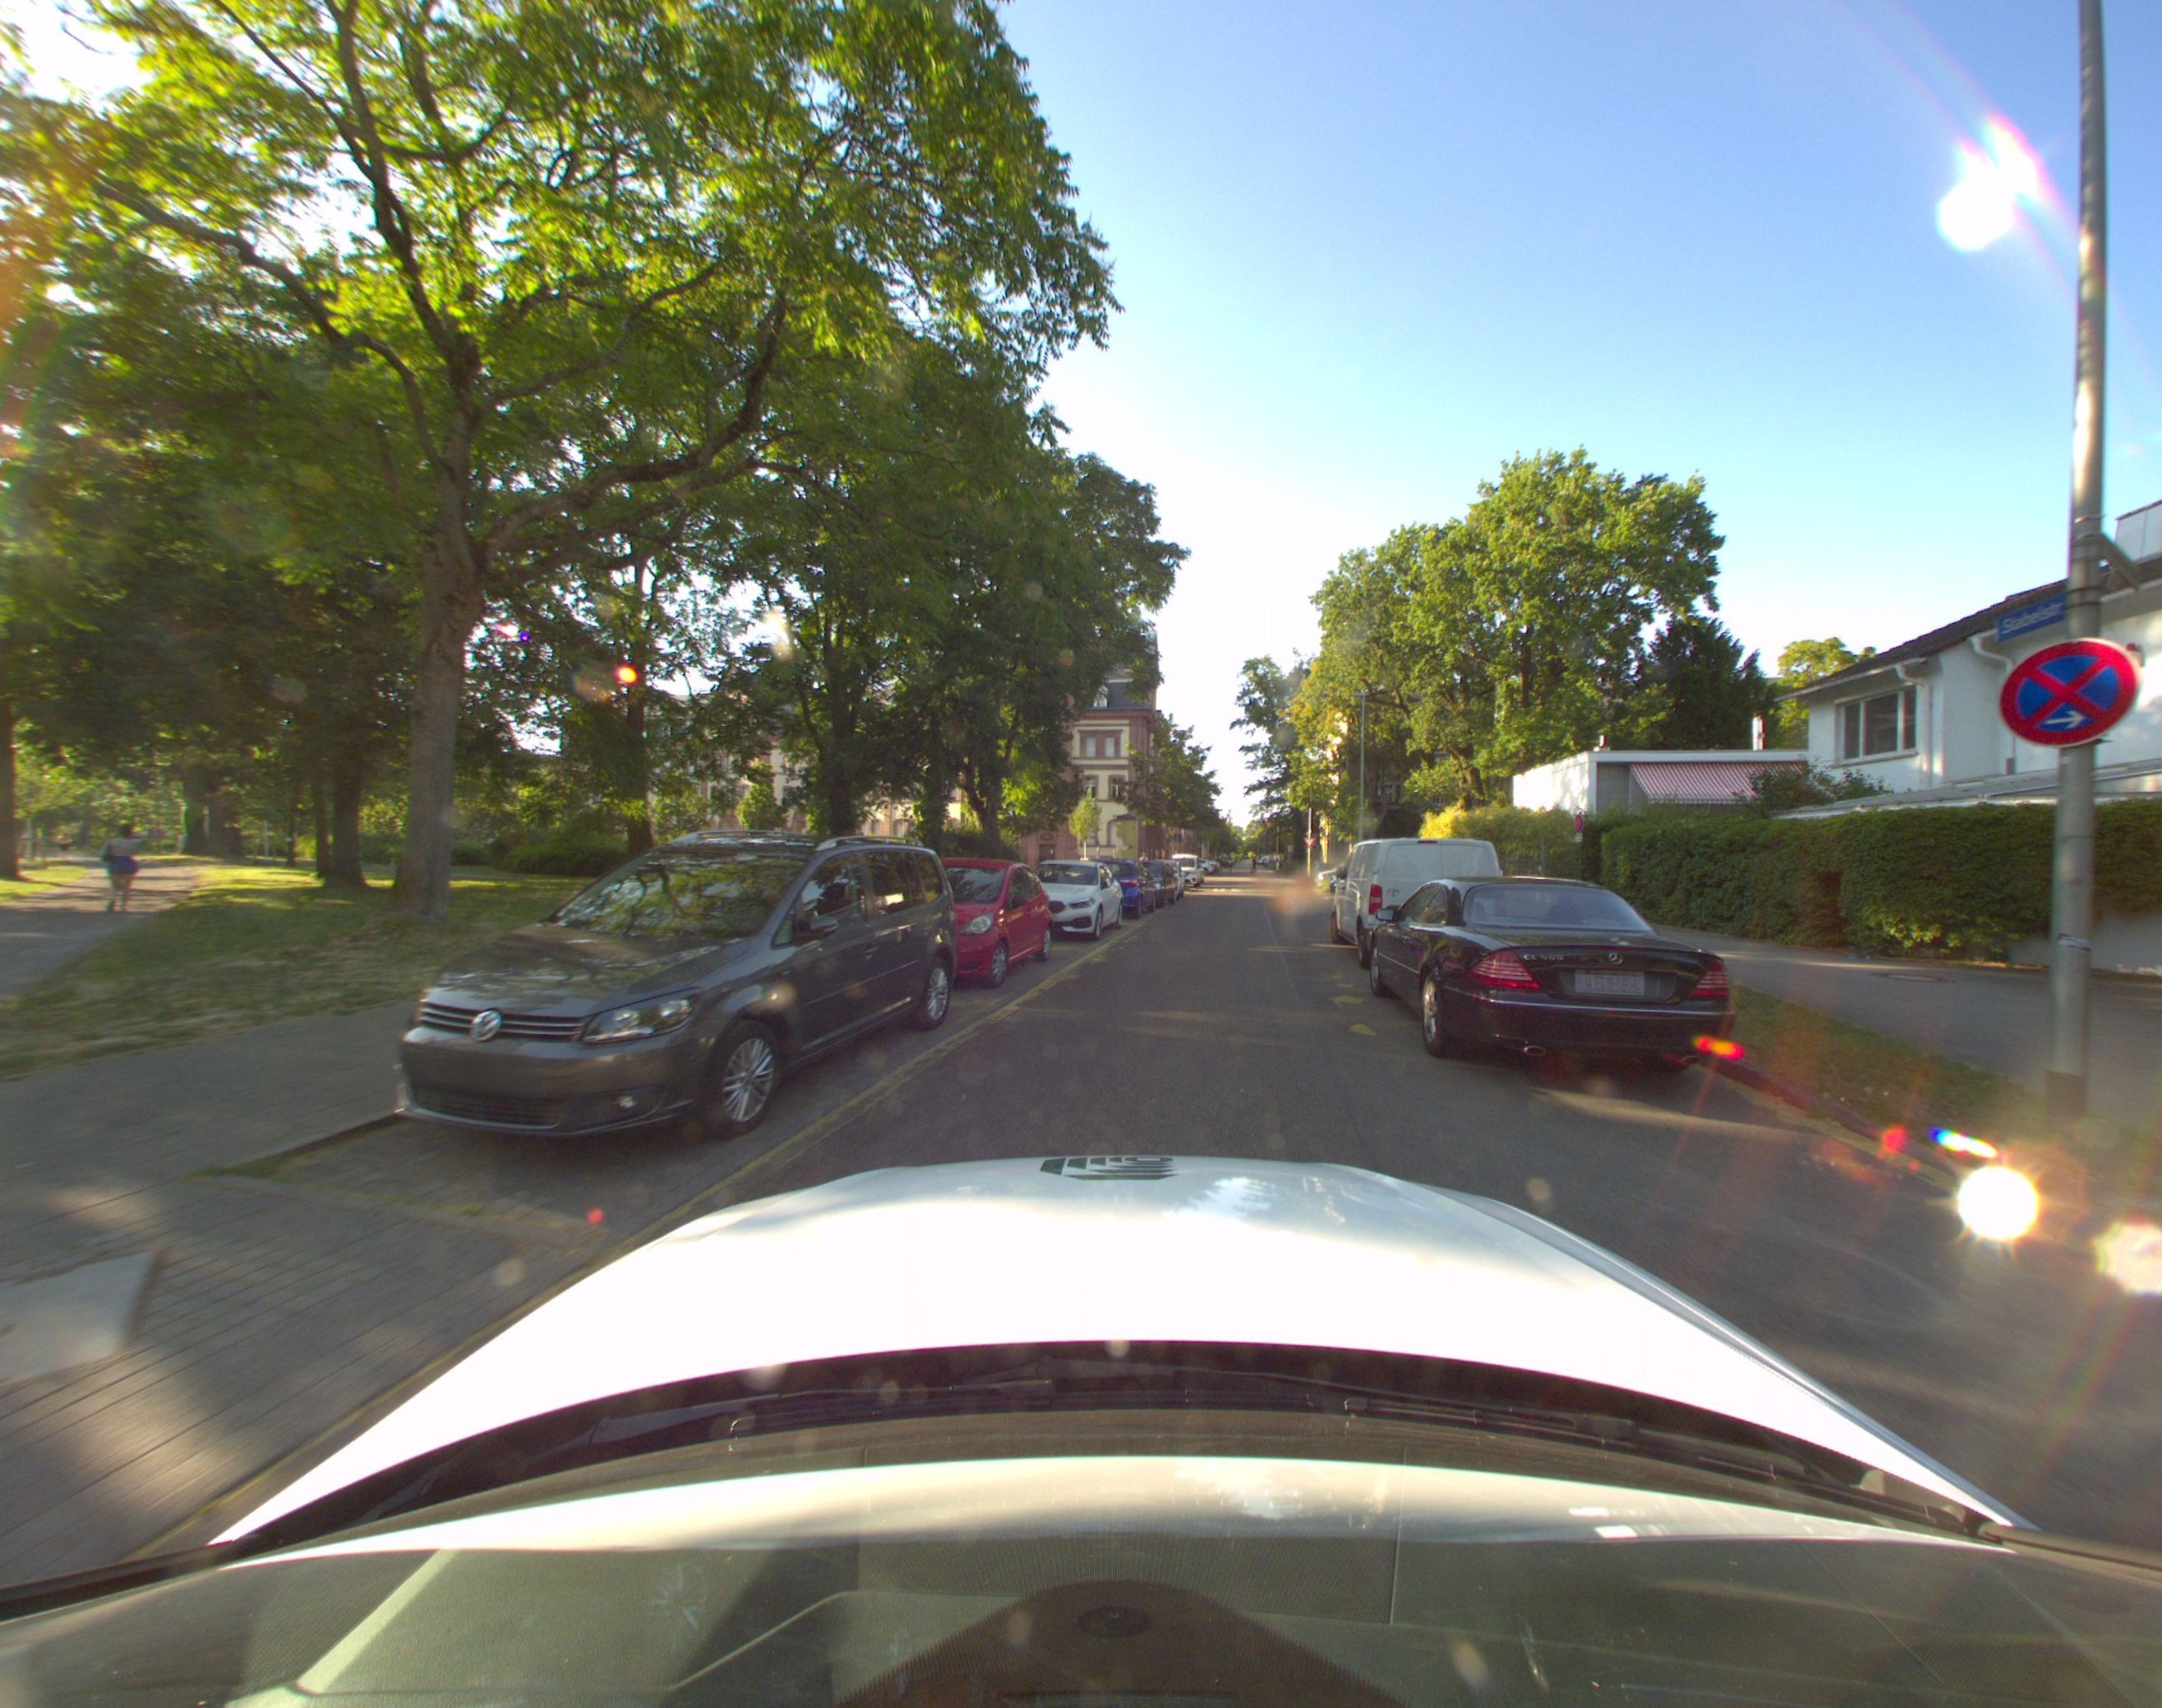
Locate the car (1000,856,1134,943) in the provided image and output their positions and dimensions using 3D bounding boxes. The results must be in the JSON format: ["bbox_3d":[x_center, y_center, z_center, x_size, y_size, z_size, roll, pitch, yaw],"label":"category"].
[{"bbox_3d":[-0.130,0.795,16.116,1.679,1.406,3.988,3,0,12],"label":"car"}]

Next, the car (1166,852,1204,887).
[{"bbox_3d":[5.876,0.813,45.749,1.769,1.841,4.566,1,0,11],"label":"car"}]

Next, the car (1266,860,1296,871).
[{"bbox_3d":[31.541,1.779,128.360,4.456,1.608,1.847,1,0,9],"label":"car"}]

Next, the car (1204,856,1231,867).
[{"bbox_3d":[23.163,1.264,138.437,4.456,1.608,1.847,1,0,9],"label":"car"}]

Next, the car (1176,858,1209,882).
[{"bbox_3d":[7.321,1.008,53.104,1.769,1.505,4.567,1,0,12],"label":"car"}]

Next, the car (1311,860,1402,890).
[{"bbox_3d":[15.086,1.124,44.727,4.465,1.549,1.896,1,0,8],"label":"car"}]

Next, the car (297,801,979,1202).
[{"bbox_3d":[-2.358,0.636,5.822,1.789,1.675,4.335,3,0,12],"label":"car"}]

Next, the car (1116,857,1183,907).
[{"bbox_3d":[2.339,0.873,26.964,1.540,1.494,3.958,1,0,15],"label":"car"}]

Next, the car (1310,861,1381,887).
[{"bbox_3d":[16.072,1.204,49.679,3.927,1.517,1.880,0,-3,12],"label":"car"}]

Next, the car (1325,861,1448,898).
[{"bbox_3d":[12.627,1.069,33.920,4.557,1.415,1.929,-1,-2,12],"label":"car"}]

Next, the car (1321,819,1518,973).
[{"bbox_3d":[5.267,0.560,13.462,1.940,2.013,5.168,1,0,10],"label":"car"}]

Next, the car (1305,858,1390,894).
[{"bbox_3d":[12.663,1.023,38.832,3.480,1.584,1.763,1,0,1],"label":"car"}]

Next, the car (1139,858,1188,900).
[{"bbox_3d":[3.287,0.920,31.908,1.582,1.526,3.876,1,0,11],"label":"car"}]

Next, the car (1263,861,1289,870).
[{"bbox_3d":[36.765,2.112,153.626,4.556,1.608,1.847,1,0,9],"label":"car"}]

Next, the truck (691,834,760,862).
[{"bbox_3d":[-40.132,-0.704,91.895,7.909,3.029,2.628,1,0,26],"label":"truck"}]

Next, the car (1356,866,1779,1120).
[{"bbox_3d":[3.841,0.887,7.534,1.754,1.468,4.879,1,0,10],"label":"car"}]

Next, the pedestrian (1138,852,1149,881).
[{"bbox_3d":[3.940,0.802,51.005,0.596,1.784,0.948,1,0,8],"label":"pedestrian"}]

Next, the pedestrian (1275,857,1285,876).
[{"bbox_3d":[17.455,1.123,71.452,0.781,1.606,0.721,1,-2,5],"label":"pedestrian"}]

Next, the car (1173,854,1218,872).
[{"bbox_3d":[11.688,0.909,82.920,4.456,1.717,1.847,1,0,9],"label":"car"}]

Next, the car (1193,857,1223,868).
[{"bbox_3d":[19.314,1.310,124.035,4.456,1.608,1.847,1,0,9],"label":"car"}]

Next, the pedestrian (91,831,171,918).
[{"bbox_3d":[-17.811,0.364,15.297,0.779,1.574,0.760,1,0,-33],"label":"pedestrian"}]

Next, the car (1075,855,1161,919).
[{"bbox_3d":[1.077,0.816,22.022,1.627,1.495,3.718,3,0,12],"label":"car"}]

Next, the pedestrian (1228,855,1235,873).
[{"bbox_3d":[16.121,1.055,87.075,0.714,1.962,0.789,1,-2,9],"label":"pedestrian"}]

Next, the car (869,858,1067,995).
[{"bbox_3d":[-1.290,0.795,10.670,1.378,1.423,3.438,3,0,12],"label":"car"}]

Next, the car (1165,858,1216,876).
[{"bbox_3d":[10.561,1.257,78.447,4.813,1.594,1.847,1,0,9],"label":"car"}]

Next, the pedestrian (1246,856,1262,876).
[{"bbox_3d":[16.348,1.155,76.898,1.064,1.858,0.995,1,0,-20],"label":"pedestrian"}]

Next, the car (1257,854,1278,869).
[{"bbox_3d":[45.764,1.840,200.156,4.855,3.618,1.847,1,0,10],"label":"car"}]

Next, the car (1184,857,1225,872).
[{"bbox_3d":[13.786,1.175,90.759,4.456,1.608,1.847,1,0,9],"label":"car"}]

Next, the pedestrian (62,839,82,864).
[{"bbox_3d":[-65.708,-0.151,53.030,0.663,1.597,0.639,1,0,24],"label":"pedestrian"}]
